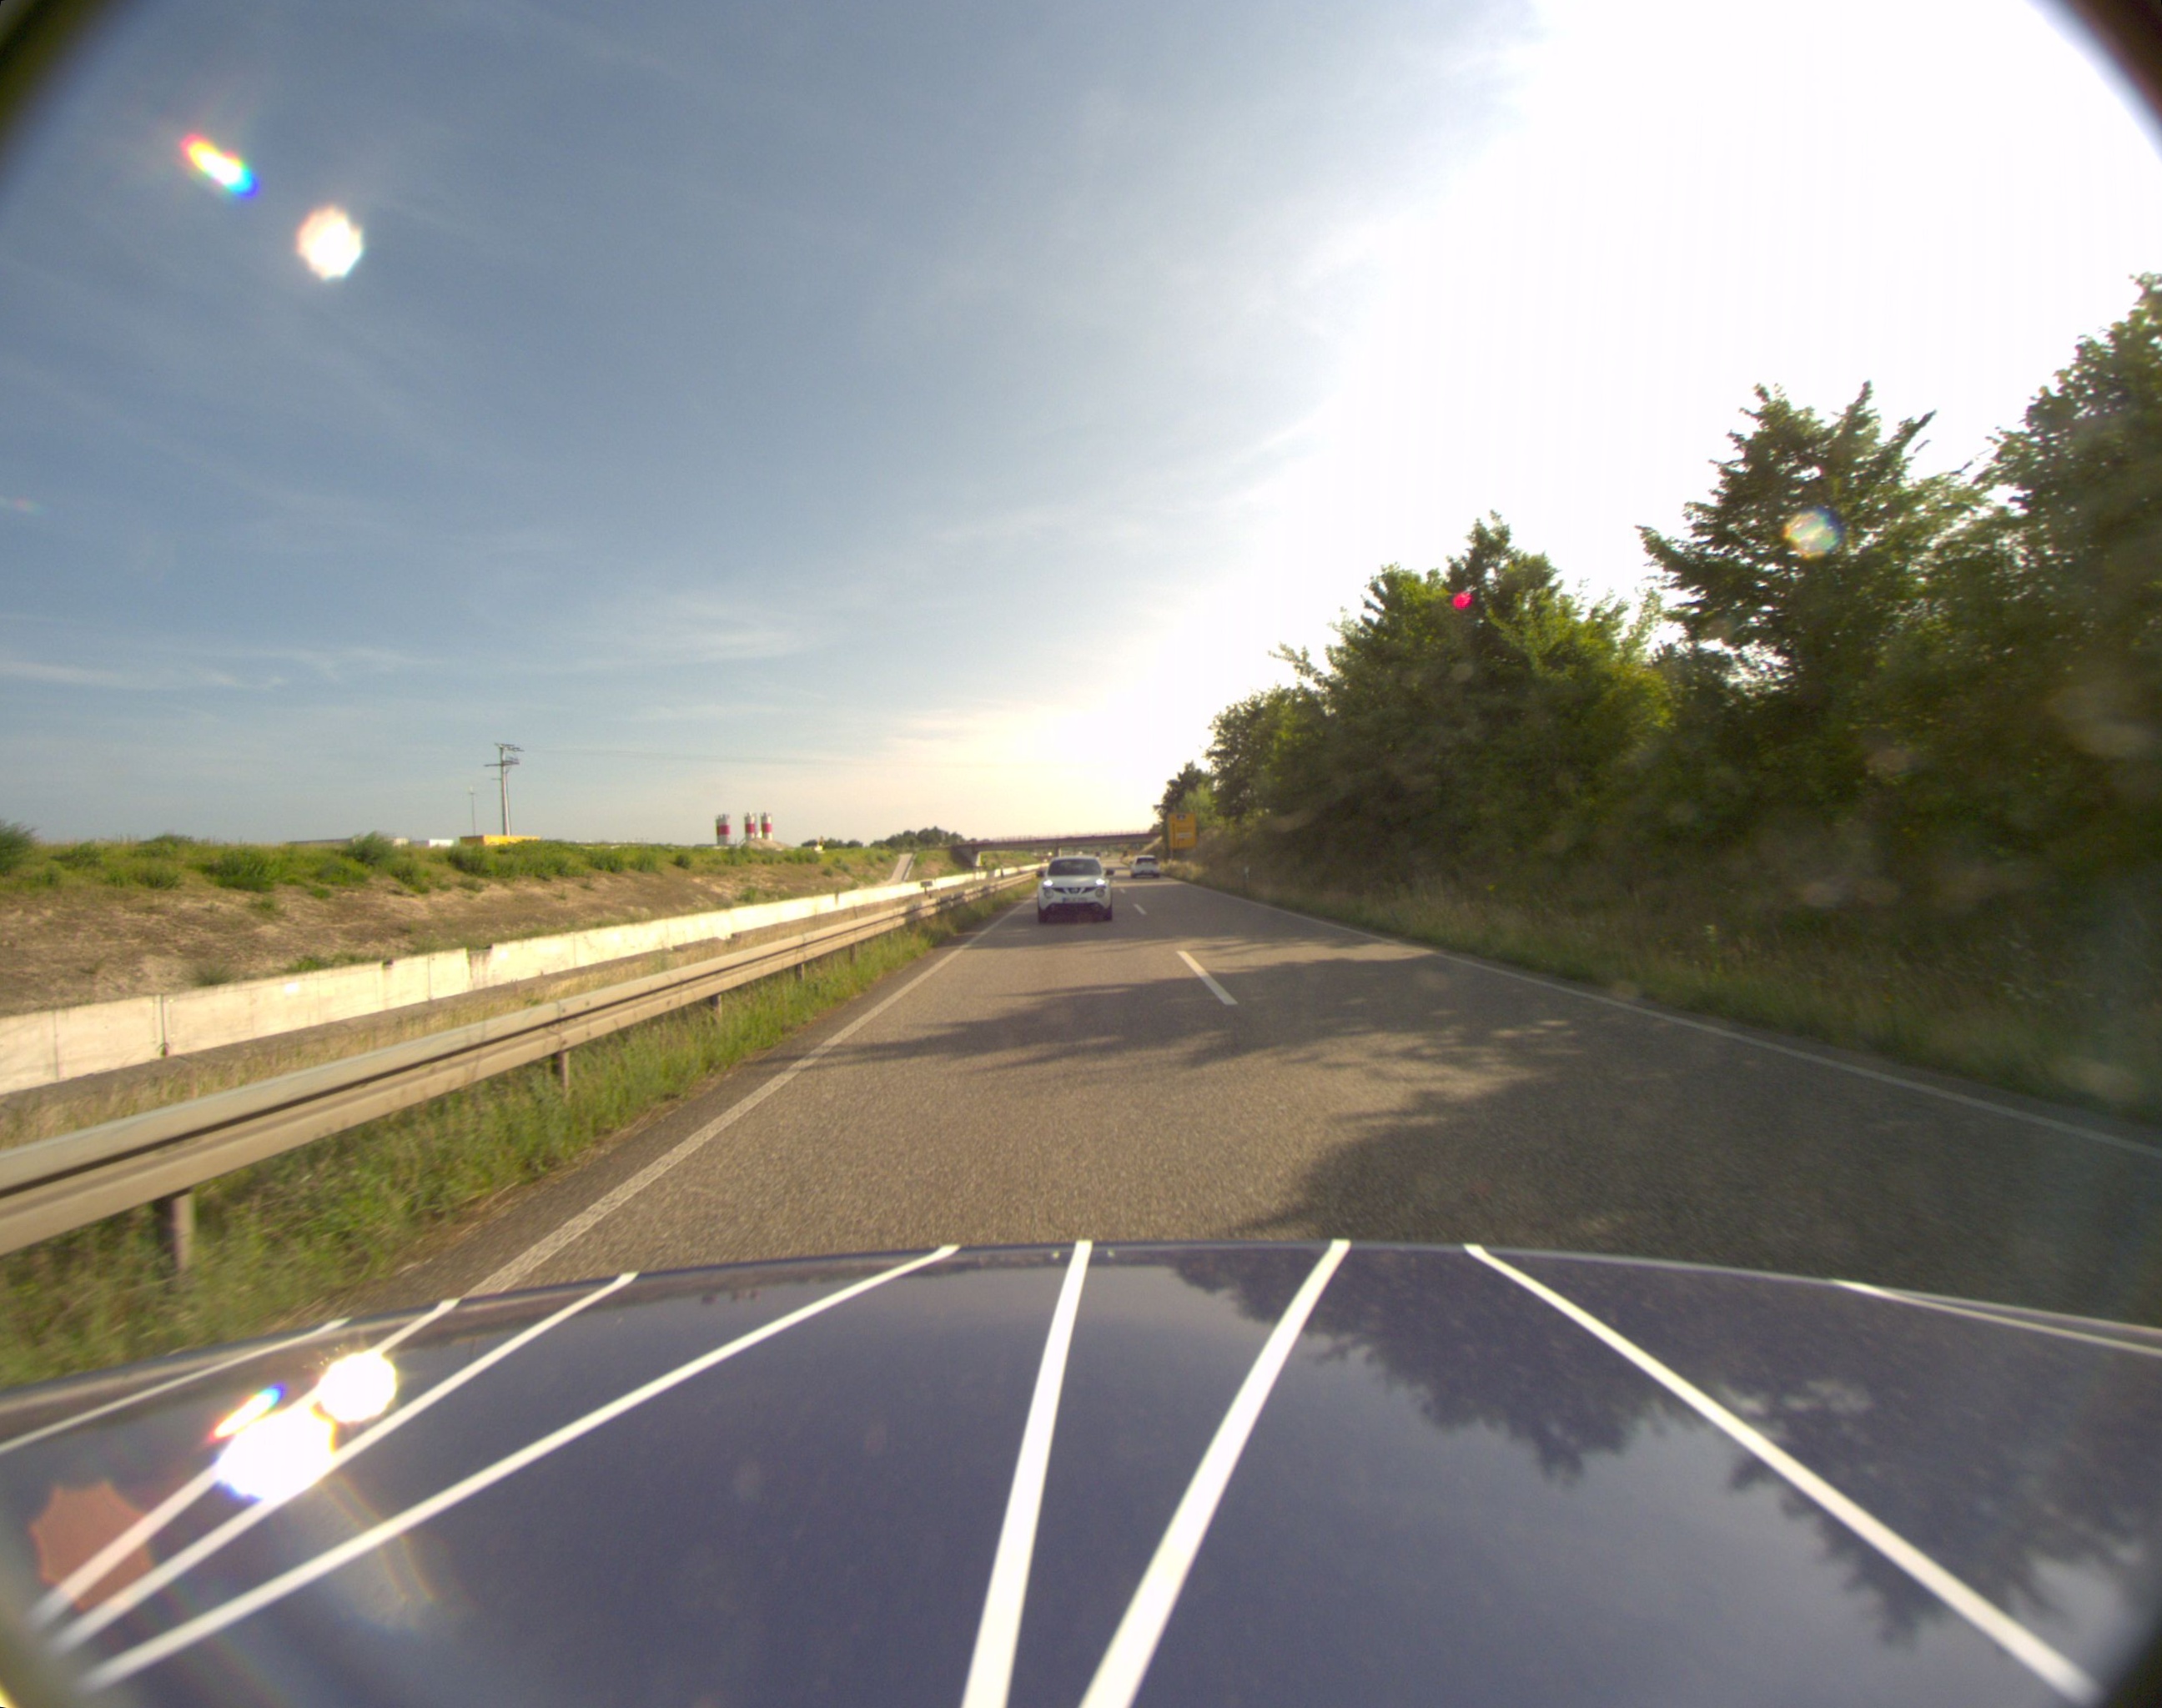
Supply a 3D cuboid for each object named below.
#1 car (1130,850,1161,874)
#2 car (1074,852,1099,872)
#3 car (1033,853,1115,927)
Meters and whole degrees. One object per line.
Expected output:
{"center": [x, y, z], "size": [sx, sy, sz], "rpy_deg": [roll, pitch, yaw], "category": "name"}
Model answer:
{"center": [4.435, 0.560, 52.931], "size": [1.749, 1.555, 4.365], "rpy_deg": [-2, 0, 0], "category": "car"}
{"center": [0.501, 0.611, 61.910], "size": [1.908, 1.512, 4.465], "rpy_deg": [-2, 0, 1], "category": "car"}
{"center": [-0.183, 0.824, 19.614], "size": [1.789, 1.593, 4.571], "rpy_deg": [-3, 0, -1], "category": "car"}
